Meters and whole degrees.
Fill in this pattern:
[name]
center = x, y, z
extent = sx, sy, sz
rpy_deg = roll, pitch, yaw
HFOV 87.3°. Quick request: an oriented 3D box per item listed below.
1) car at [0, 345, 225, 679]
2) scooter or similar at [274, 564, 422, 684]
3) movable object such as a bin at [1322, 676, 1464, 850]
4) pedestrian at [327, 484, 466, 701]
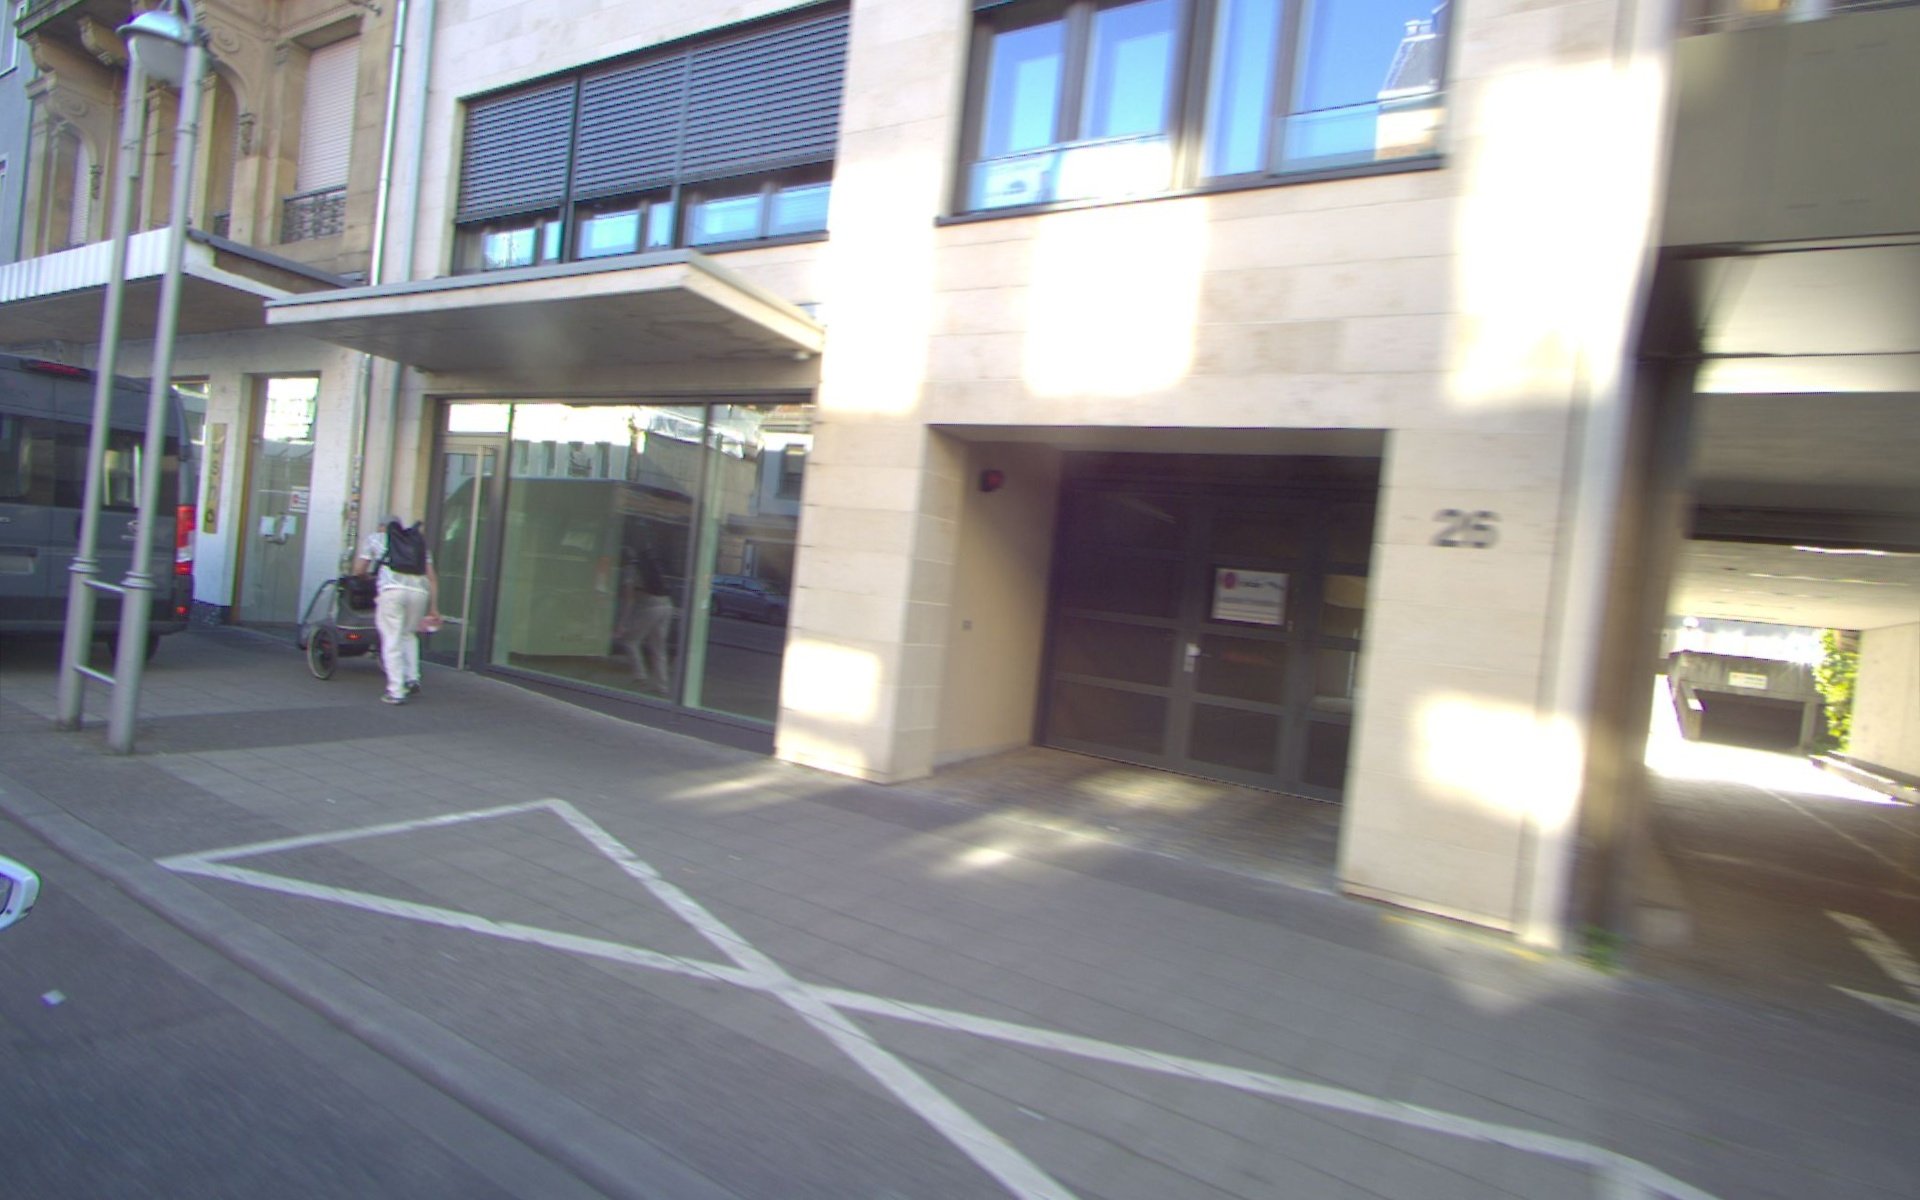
[car]
center = -9.256, -0.901, 9.176
extent = 5.272, 2.494, 2.172
rpy_deg = 7, 2, 31
[scooter or similar]
center = -5.677, 0.205, 9.321
extent = 1.276, 0.949, 0.594
rpy_deg = 7, 3, 30
[movable object such as a bin]
center = 3.131, 1.134, 7.263
extent = 0.747, 1.070, 0.709
rpy_deg = 7, 1, 31
[pedestrian]
center = -4.840, -0.076, 8.636
extent = 0.938, 1.737, 0.556
rpy_deg = 7, 3, 30
